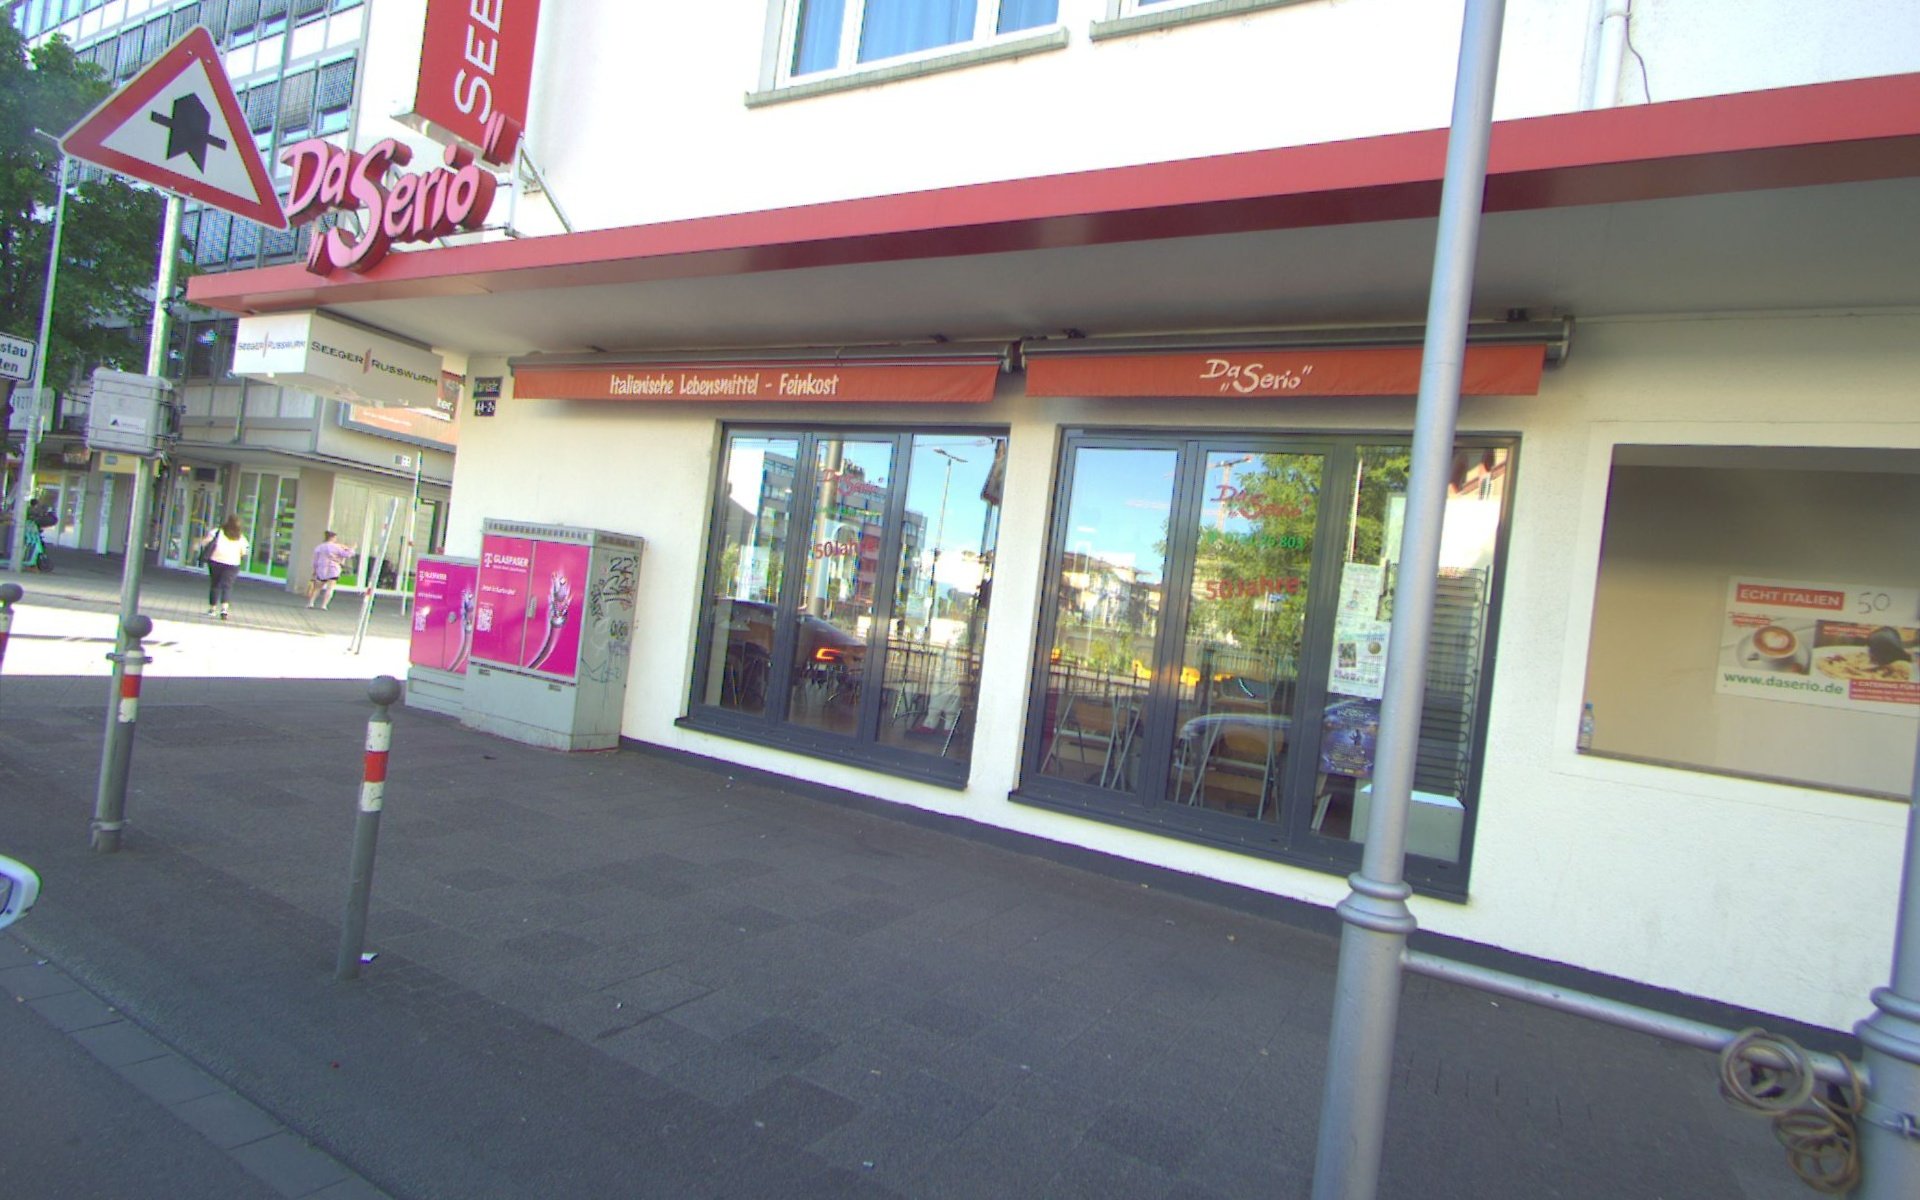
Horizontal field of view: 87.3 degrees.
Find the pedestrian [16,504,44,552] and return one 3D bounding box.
[{"bbox_3d":[-28.170,-2.187,30.483,0.504,1.359,0.390,6,-1,34],"label":"pedestrian"}]

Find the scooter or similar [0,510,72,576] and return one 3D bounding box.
[{"bbox_3d":[-19.934,-1.232,21.172,1.628,1.229,0.640,8,-1,-29],"label":"scooter or similar"}]

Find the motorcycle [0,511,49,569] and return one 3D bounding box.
[{"bbox_3d":[-21.564,-1.406,22.401,0.532,1.186,1.711,7,-2,30],"label":"motorcycle"}]

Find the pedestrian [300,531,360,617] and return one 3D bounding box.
[{"bbox_3d":[-13.484,-0.556,21.540,0.884,1.687,0.801,8,-1,-35],"label":"pedestrian"}]

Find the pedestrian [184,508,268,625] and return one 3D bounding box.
[{"bbox_3d":[-12.099,-0.548,16.618,0.909,1.772,1.029,8,-1,-35],"label":"pedestrian"}]
